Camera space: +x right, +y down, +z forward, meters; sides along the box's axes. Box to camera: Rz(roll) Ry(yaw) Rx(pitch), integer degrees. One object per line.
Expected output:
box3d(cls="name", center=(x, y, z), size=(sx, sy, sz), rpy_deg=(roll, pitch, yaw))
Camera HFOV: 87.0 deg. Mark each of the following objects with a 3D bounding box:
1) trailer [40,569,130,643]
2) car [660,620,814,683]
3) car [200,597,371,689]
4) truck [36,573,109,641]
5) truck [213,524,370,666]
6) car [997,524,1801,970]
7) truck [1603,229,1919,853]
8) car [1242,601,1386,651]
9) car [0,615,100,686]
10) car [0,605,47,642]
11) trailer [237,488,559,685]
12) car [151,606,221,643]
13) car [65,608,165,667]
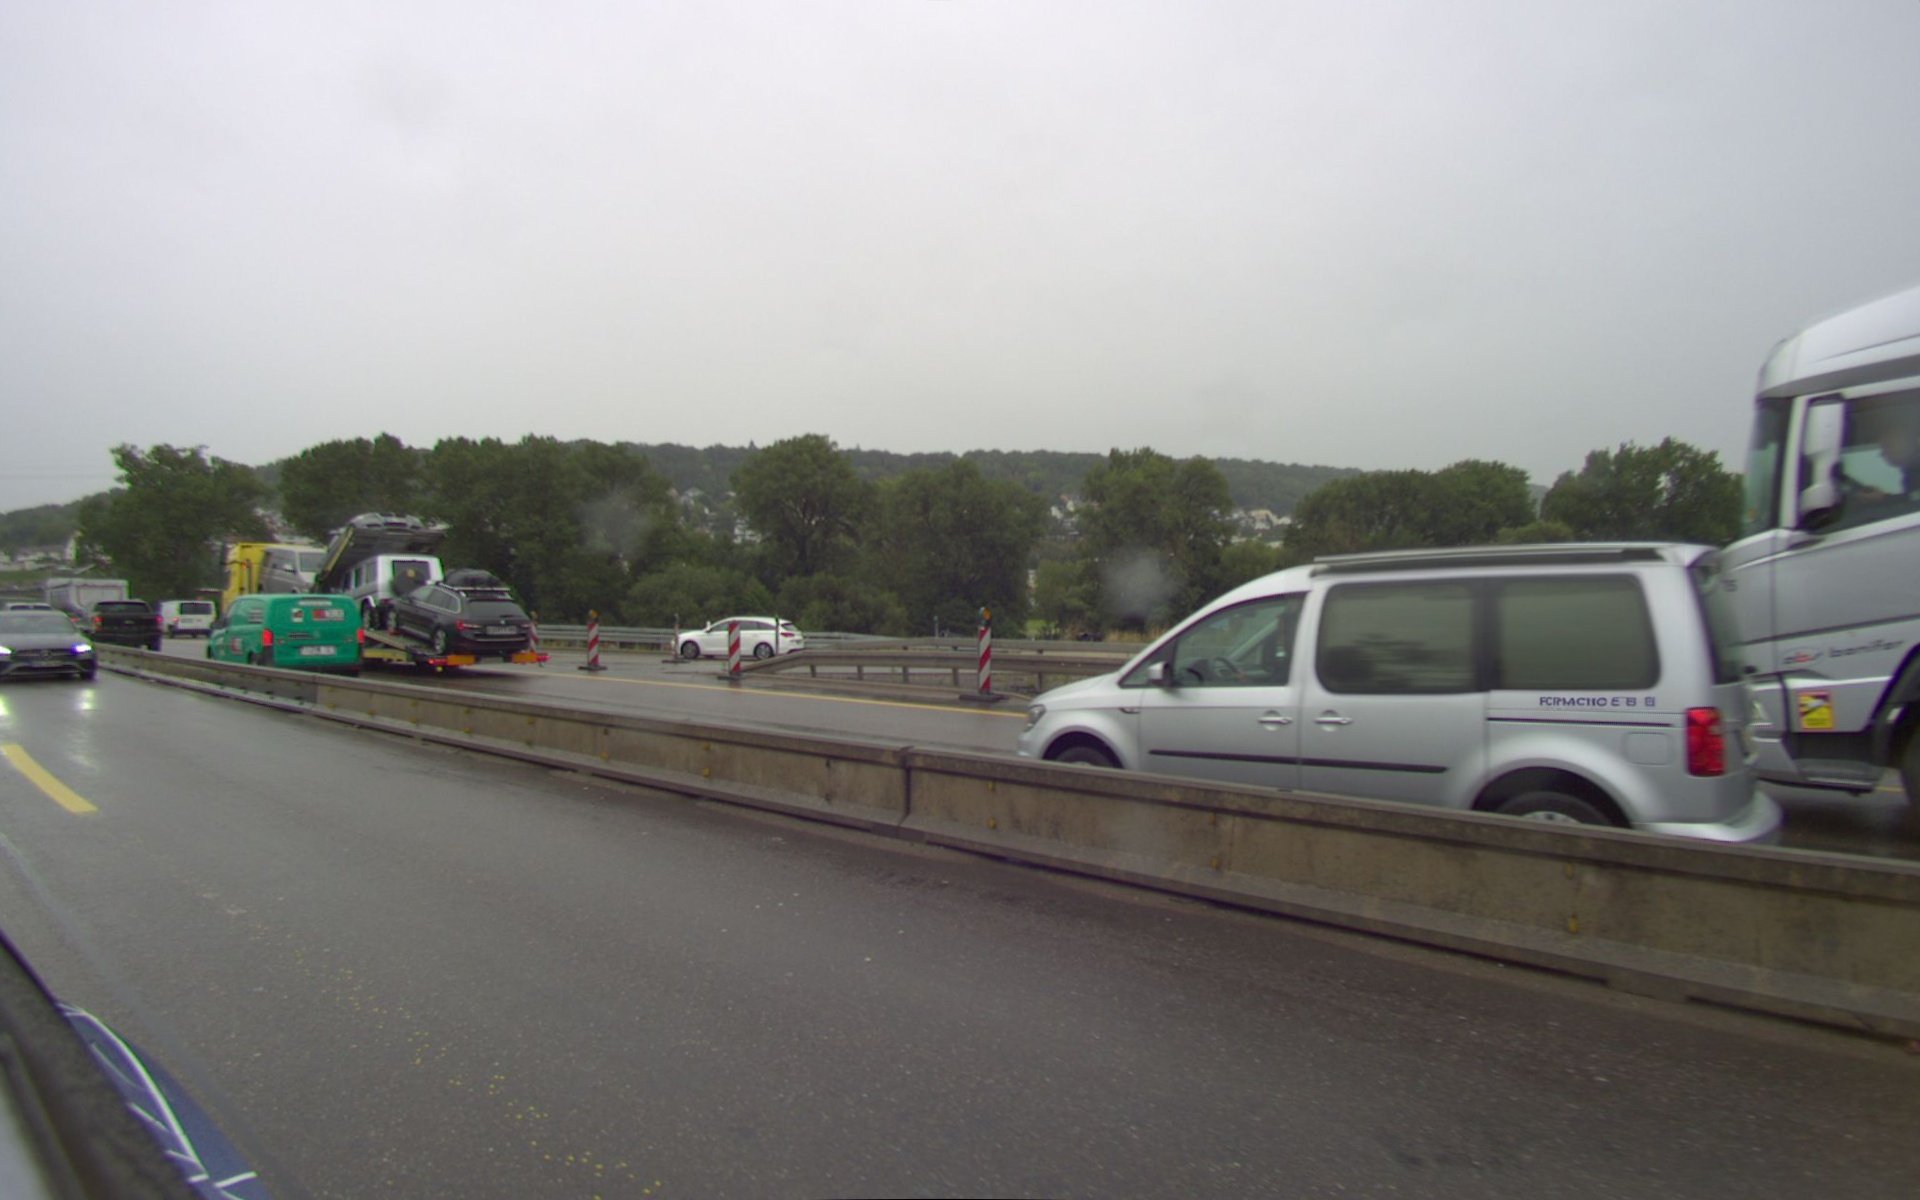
box3d(cls="trailer", center=(-51.329, 0.427, 59.255), size=(9.816, 3.994, 2.657), rpy_deg=(-1, -2, 42))
box3d(cls="car", center=(-7.577, 1.740, 34.642), size=(4.782, 2.078, 2.068), rpy_deg=(0, -1, 5))
box3d(cls="car", center=(-14.556, 0.868, 21.737), size=(4.686, 1.772, 1.972), rpy_deg=(-1, -1, 42))
box3d(cls="truck", center=(-54.475, 0.465, 62.101), size=(5.272, 3.957, 2.657), rpy_deg=(-1, -2, 42))
box3d(cls="truck", center=(-21.399, -0.094, 32.264), size=(6.146, 4.093, 2.720), rpy_deg=(-1, -1, 42))
box3d(cls="car", center=(2.418, 0.631, 6.210), size=(4.161, 1.813, 1.846), rpy_deg=(-1, -1, 41))
box3d(cls="truck", center=(7.834, -0.371, 5.868), size=(6.592, 3.705, 2.593), rpy_deg=(-1, -1, 41))
box3d(cls="car", center=(12.788, 0.916, 36.565), size=(4.958, 1.713, 1.856), rpy_deg=(0, -1, -23))
box3d(cls="car", center=(-20.743, 1.058, 22.503), size=(4.483, 1.449, 1.926), rpy_deg=(-1, -1, 42))
box3d(cls="car", center=(-48.682, 1.178, 52.158), size=(5.358, 1.806, 1.855), rpy_deg=(-1, -1, 42))
box3d(cls="trailer", center=(-15.694, -0.196, 27.089), size=(15.354, 4.073, 2.720), rpy_deg=(-1, -1, 42))
box3d(cls="car", center=(-43.501, 1.346, 56.867), size=(5.044, 2.029, 2.241), rpy_deg=(-1, -1, 42))
box3d(cls="car", center=(-27.950, 1.193, 33.399), size=(5.188, 1.819, 1.768), rpy_deg=(-1, -2, 42))
